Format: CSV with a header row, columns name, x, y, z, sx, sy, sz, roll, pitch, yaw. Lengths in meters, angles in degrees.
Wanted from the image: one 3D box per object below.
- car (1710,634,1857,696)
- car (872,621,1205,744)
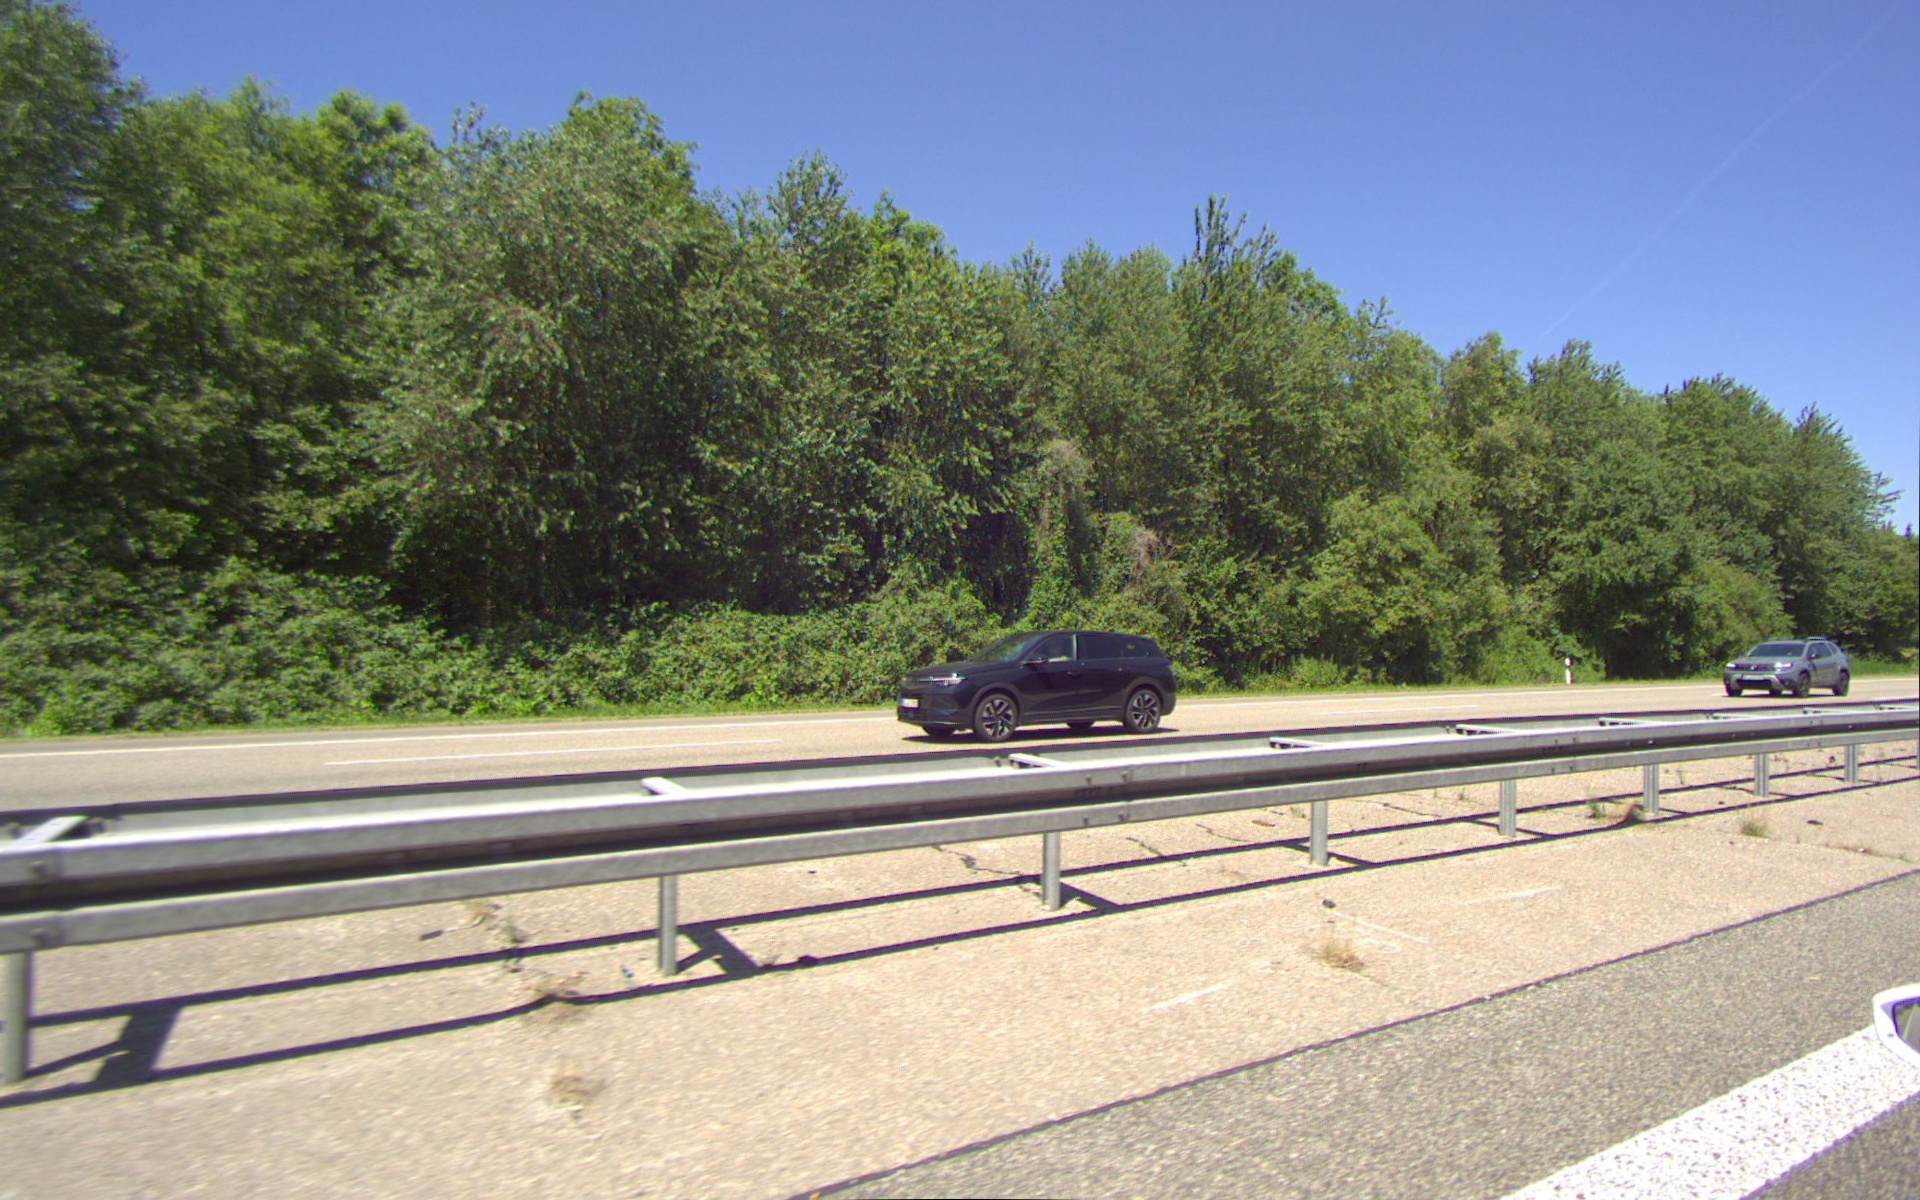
name,x,y,z,sx,sy,sz,roll,pitch,yaw
car,23.791,1.821,28.980,4.744,1.652,1.811,1,-2,-31
car,1.281,1.250,15.950,4.871,1.672,2.264,1,-4,-31
